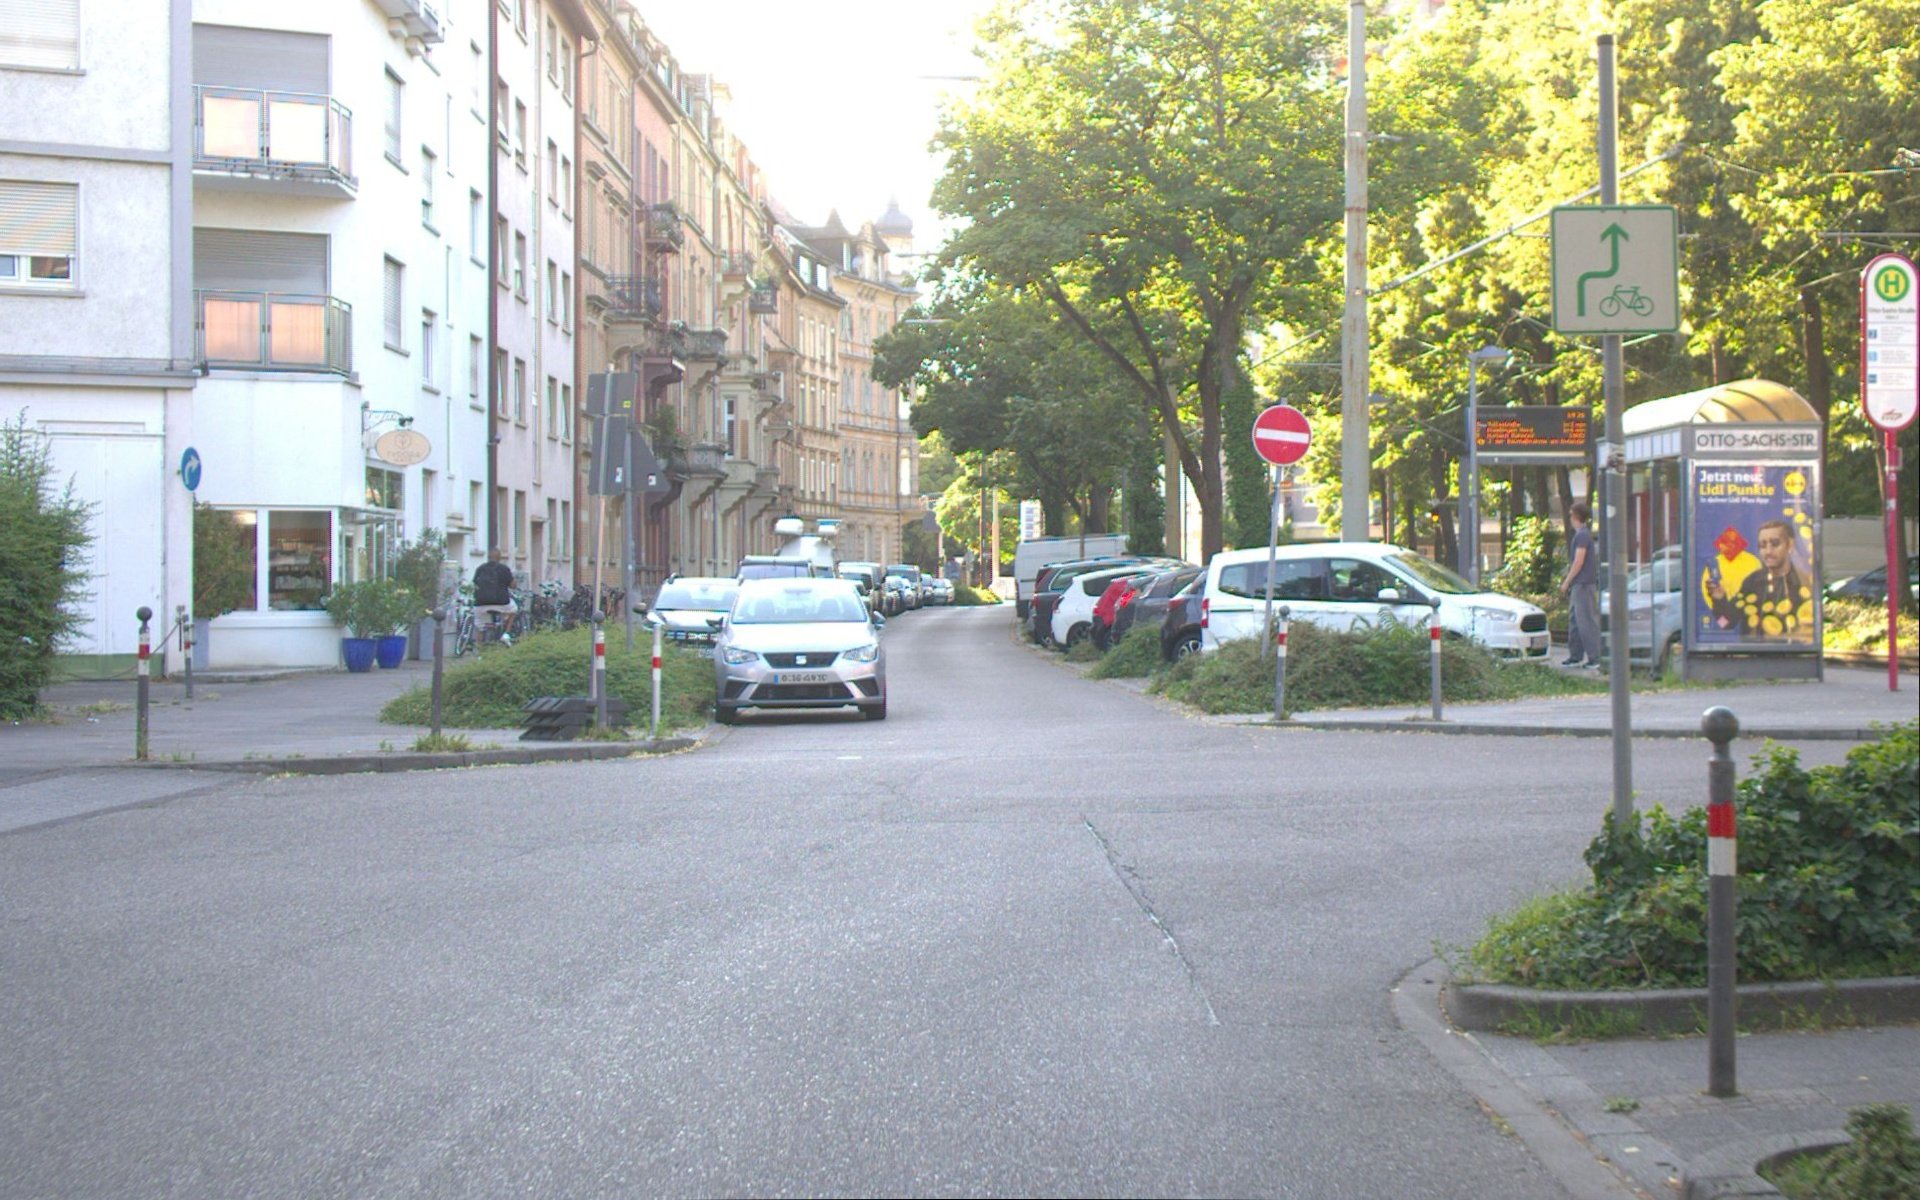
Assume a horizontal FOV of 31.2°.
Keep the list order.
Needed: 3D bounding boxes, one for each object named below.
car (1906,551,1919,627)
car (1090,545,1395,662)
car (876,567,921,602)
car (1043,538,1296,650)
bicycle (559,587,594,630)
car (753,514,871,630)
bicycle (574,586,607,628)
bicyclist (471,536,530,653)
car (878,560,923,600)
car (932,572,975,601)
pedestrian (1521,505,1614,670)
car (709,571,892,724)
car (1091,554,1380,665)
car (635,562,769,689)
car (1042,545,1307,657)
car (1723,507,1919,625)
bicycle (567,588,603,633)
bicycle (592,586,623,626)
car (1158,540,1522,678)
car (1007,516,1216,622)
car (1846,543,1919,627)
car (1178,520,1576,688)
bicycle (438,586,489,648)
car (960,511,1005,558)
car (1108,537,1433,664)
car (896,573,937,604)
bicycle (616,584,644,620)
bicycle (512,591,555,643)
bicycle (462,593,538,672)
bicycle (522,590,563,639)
[{"bbox_3d":[20.076,-0.120,65.462,3.821,1.416,1.736,3,0,19],"label":"car"},{"bbox_3d":[4.279,0.060,52.150,4.232,1.454,1.606,-4,0,24],"label":"car"},{"bbox_3d":[-2.715,-0.699,152.567,1.711,1.441,4.000,-1,1,2],"label":"car"},{"bbox_3d":[3.855,-0.100,63.607,4.236,1.743,1.854,-4,0,36],"label":"car"},{"bbox_3d":[-9.166,0.191,82.120,0.626,1.000,2.176,0,1,-1],"label":"bicycle"},{"bbox_3d":[-3.830,-0.753,89.905,2.552,2.877,5.481,-1,1,2],"label":"car"},{"bbox_3d":[-9.079,0.167,84.516,0.626,1.000,2.176,0,1,-1],"label":"bicycle"},{"bbox_3d":[-6.365,-0.077,47.661,0.712,1.611,0.723,0,0,0],"label":"bicyclist"},{"bbox_3d":[-2.780,-0.956,160.875,1.711,1.814,4.000,-1,1,4],"label":"car"},{"bbox_3d":[-0.318,-0.700,181.145,1.711,1.441,3.999,-1,1,8],"label":"car"},{"bbox_3d":[7.122,-0.151,40.302,0.849,1.904,0.836,0,0,27],"label":"pedestrian"},{"bbox_3d":[-1.706,0.445,35.657,1.710,1.441,4.001,-1,1,-5],"label":"car"},{"bbox_3d":[4.412,0.148,55.061,4.232,1.454,1.606,-4,0,24],"label":"car"},{"bbox_3d":[-3.588,0.319,48.370,1.710,1.667,4.000,-1,1,-3],"label":"car"},{"bbox_3d":[3.770,0.027,60.645,4.236,1.645,1.854,-4,0,36],"label":"car"},{"bbox_3d":[19.801,-0.764,77.795,4.493,2.468,1.816,2,0,31],"label":"car"},{"bbox_3d":[-8.622,0.234,79.135,0.626,1.000,2.176,0,1,-1],"label":"bicycle"},{"bbox_3d":[-8.990,0.147,87.725,0.626,1.000,2.176,0,1,-1],"label":"bicycle"},{"bbox_3d":[4.822,0.115,43.689,4.197,1.432,1.699,-4,0,25],"label":"car"},{"bbox_3d":[4.244,-0.869,96.500,5.259,2.563,2.270,-4,0,28],"label":"car"},{"bbox_3d":[19.722,-0.242,68.515,3.821,1.582,1.736,3,0,19],"label":"car"},{"bbox_3d":[4.851,0.059,40.171,4.234,1.647,1.605,-4,0,31],"label":"car"},{"bbox_3d":[-8.397,0.281,58.155,0.531,1.000,2.176,0,1,0],"label":"bicycle"},{"bbox_3d":[1.259,-3.617,191.052,1.711,2.553,5.565,-1,1,8],"label":"car"},{"bbox_3d":[4.427,0.009,49.107,4.232,1.503,1.606,-4,0,24],"label":"car"},{"bbox_3d":[-2.150,-0.595,170.878,1.711,1.441,4.000,-1,1,4],"label":"car"},{"bbox_3d":[-9.340,0.047,97.298,0.626,1.000,2.176,0,1,-1],"label":"bicycle"},{"bbox_3d":[-8.521,0.329,68.720,0.626,1.000,2.176,0,1,-1],"label":"bicycle"},{"bbox_3d":[-6.363,0.436,47.648,0.712,1.047,2.347,0,1,0],"label":"bicycle"},{"bbox_3d":[-8.762,0.298,72.257,0.626,1.000,2.176,0,1,-1],"label":"bicycle"}]
